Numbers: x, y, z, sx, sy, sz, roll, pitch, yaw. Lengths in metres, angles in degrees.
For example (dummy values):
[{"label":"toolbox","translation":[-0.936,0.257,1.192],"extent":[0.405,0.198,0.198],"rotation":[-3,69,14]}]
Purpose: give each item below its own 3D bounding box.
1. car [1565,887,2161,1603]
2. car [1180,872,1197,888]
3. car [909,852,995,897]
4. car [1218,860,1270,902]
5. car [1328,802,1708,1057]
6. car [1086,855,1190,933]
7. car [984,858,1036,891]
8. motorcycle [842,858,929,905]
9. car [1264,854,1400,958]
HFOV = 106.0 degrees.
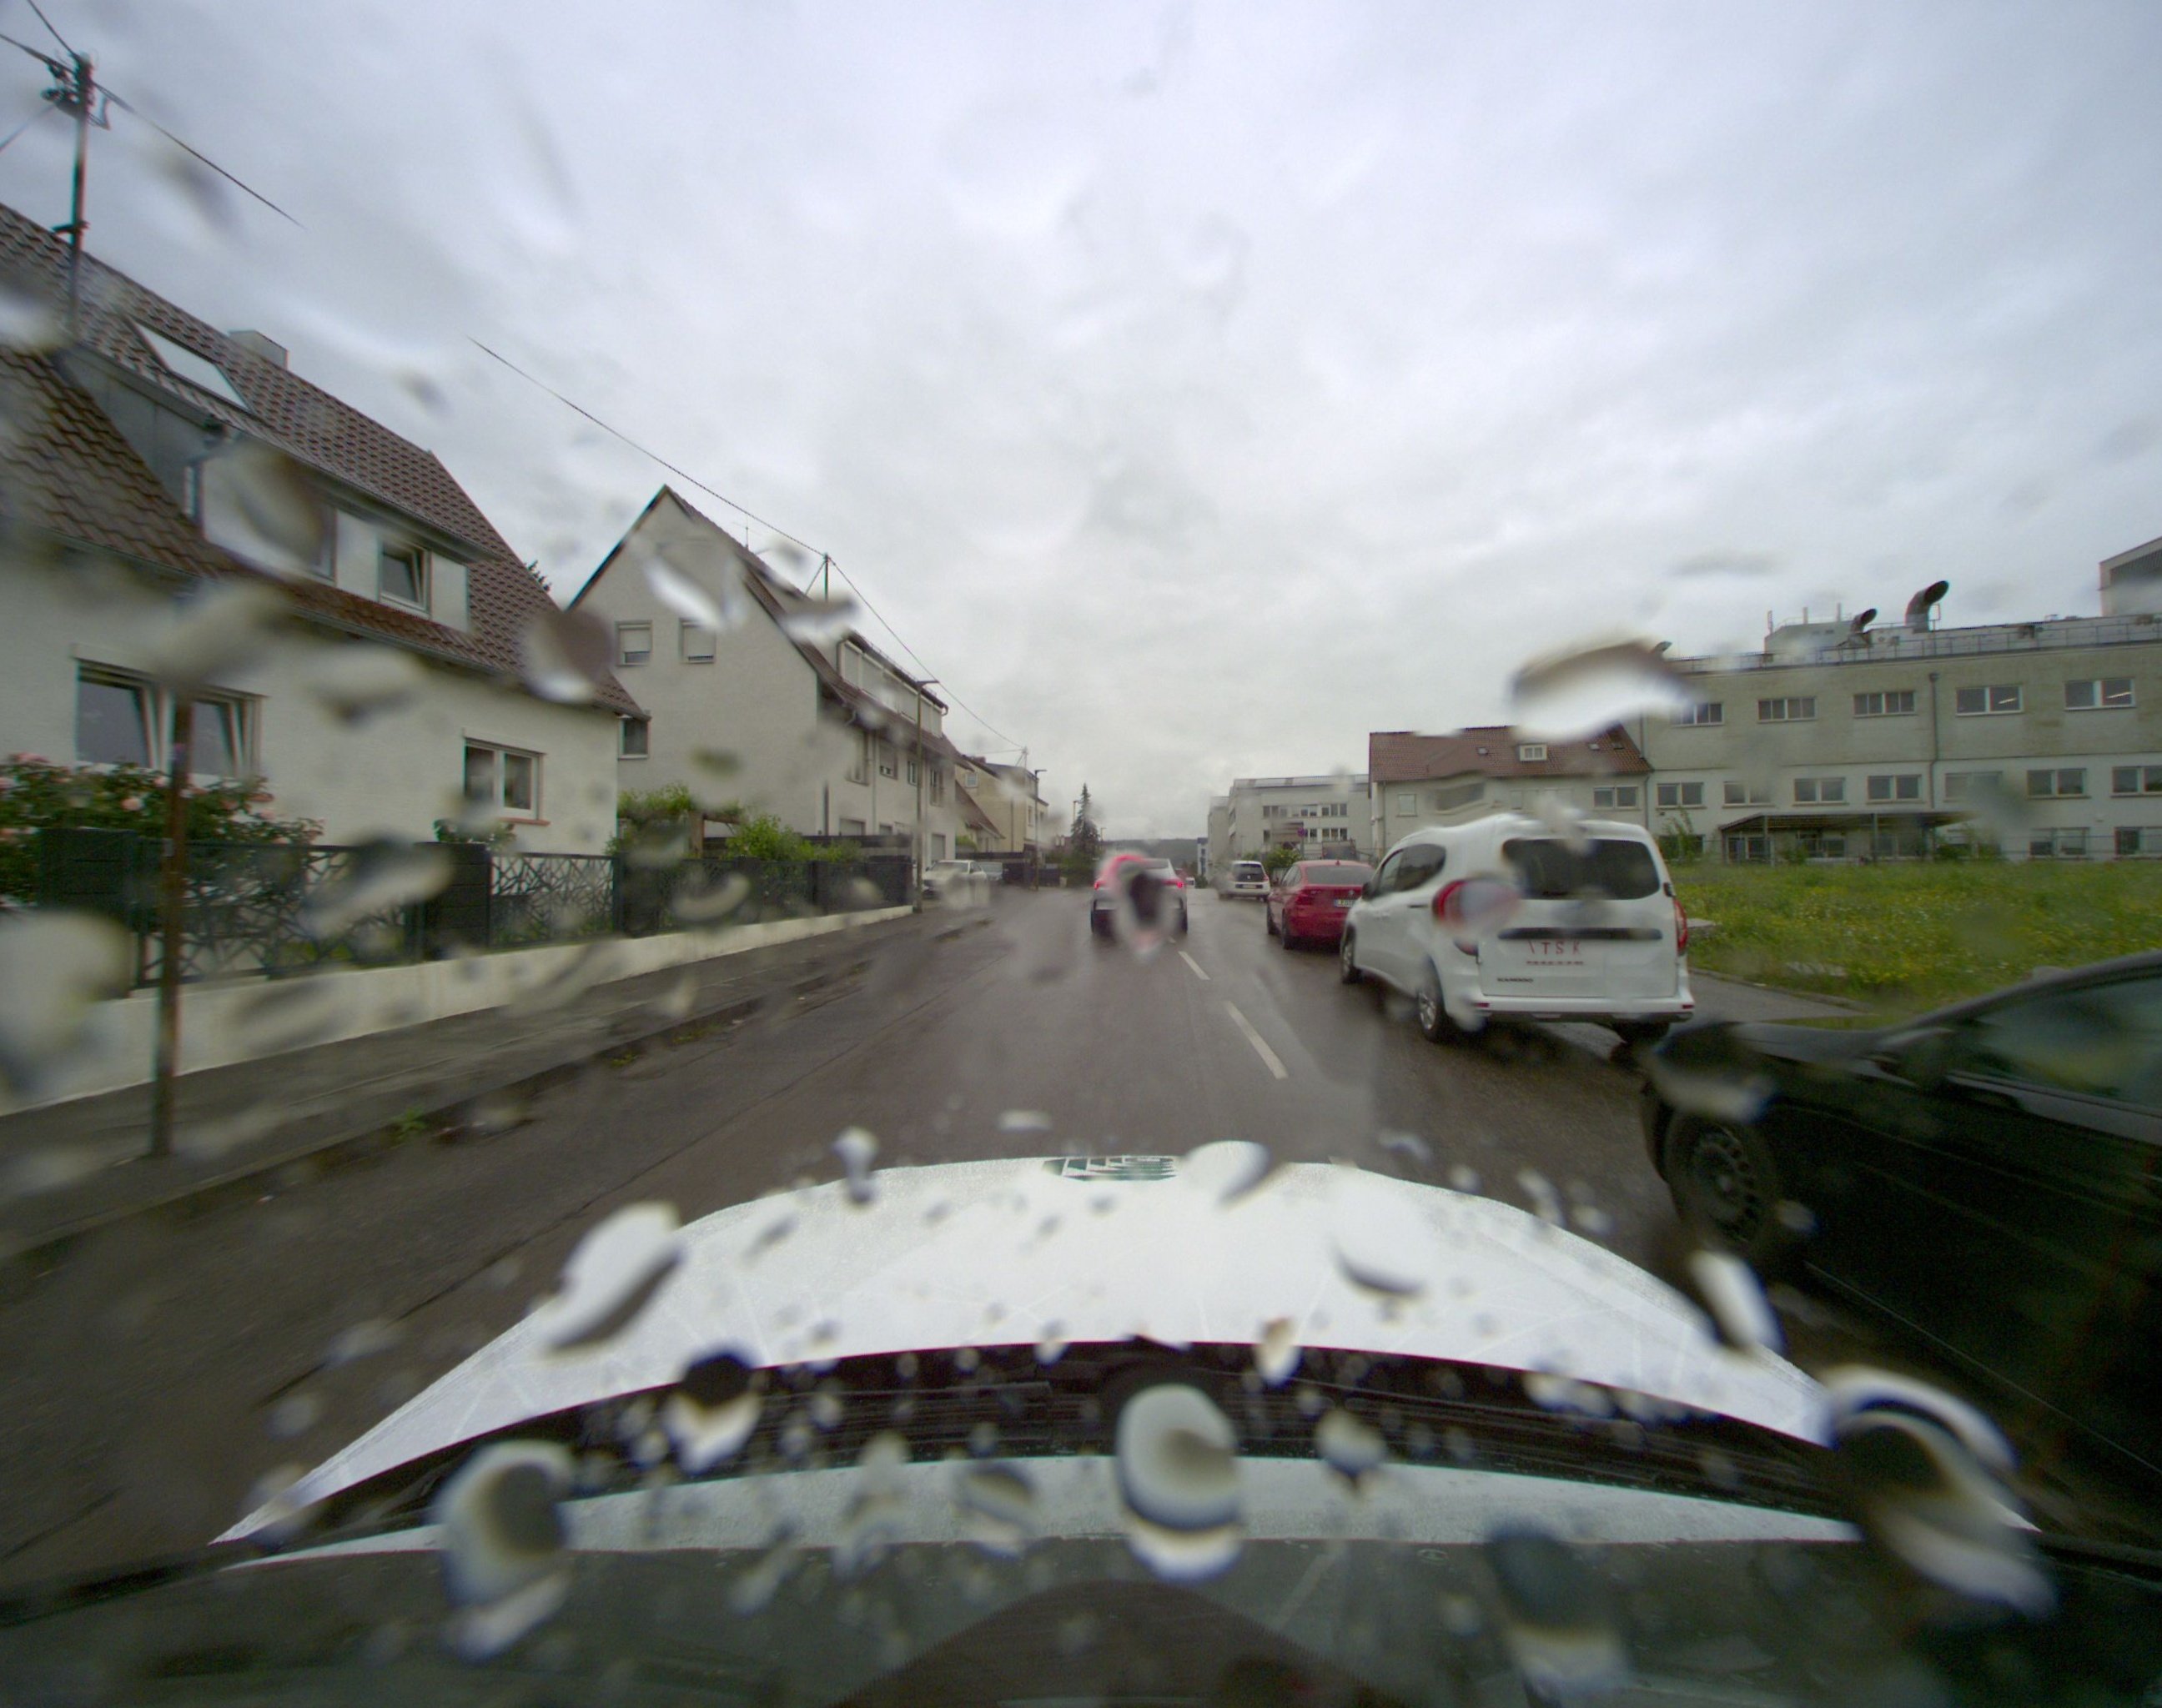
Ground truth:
[{"label":"car","translation":[3.061,0.831,1.812],"extent":[1.760,1.336,4.327],"rotation":[0,0,6]},{"label":"car","translation":[14.856,3.669,113.048],"extent":[1.985,2.014,4.001],"rotation":[-2,-4,3]},{"label":"car","translation":[-4.824,0.736,31.243],"extent":[1.983,1.510,4.903],"rotation":[2,0,6]},{"label":"car","translation":[6.386,1.007,32.240],"extent":[1.673,1.557,3.680],"rotation":[0,0,6]},{"label":"car","translation":[3.846,0.538,8.183],"extent":[1.760,1.825,4.582],"rotation":[0,0,6]},{"label":"car","translation":[1.411,0.782,18.093],"extent":[1.982,1.502,4.680],"rotation":[0,0,8]},{"label":"car","translation":[-3.265,0.937,38.298],"extent":[1.820,1.368,4.572],"rotation":[3,0,2]},{"label":"motorcycle","translation":[-5.817,0.798,24.242],"extent":[2.350,1.273,0.737],"rotation":[2,0,6]},{"label":"car","translation":[4.358,0.795,14.804],"extent":[1.633,1.575,4.653],"rotation":[0,0,8]}]
